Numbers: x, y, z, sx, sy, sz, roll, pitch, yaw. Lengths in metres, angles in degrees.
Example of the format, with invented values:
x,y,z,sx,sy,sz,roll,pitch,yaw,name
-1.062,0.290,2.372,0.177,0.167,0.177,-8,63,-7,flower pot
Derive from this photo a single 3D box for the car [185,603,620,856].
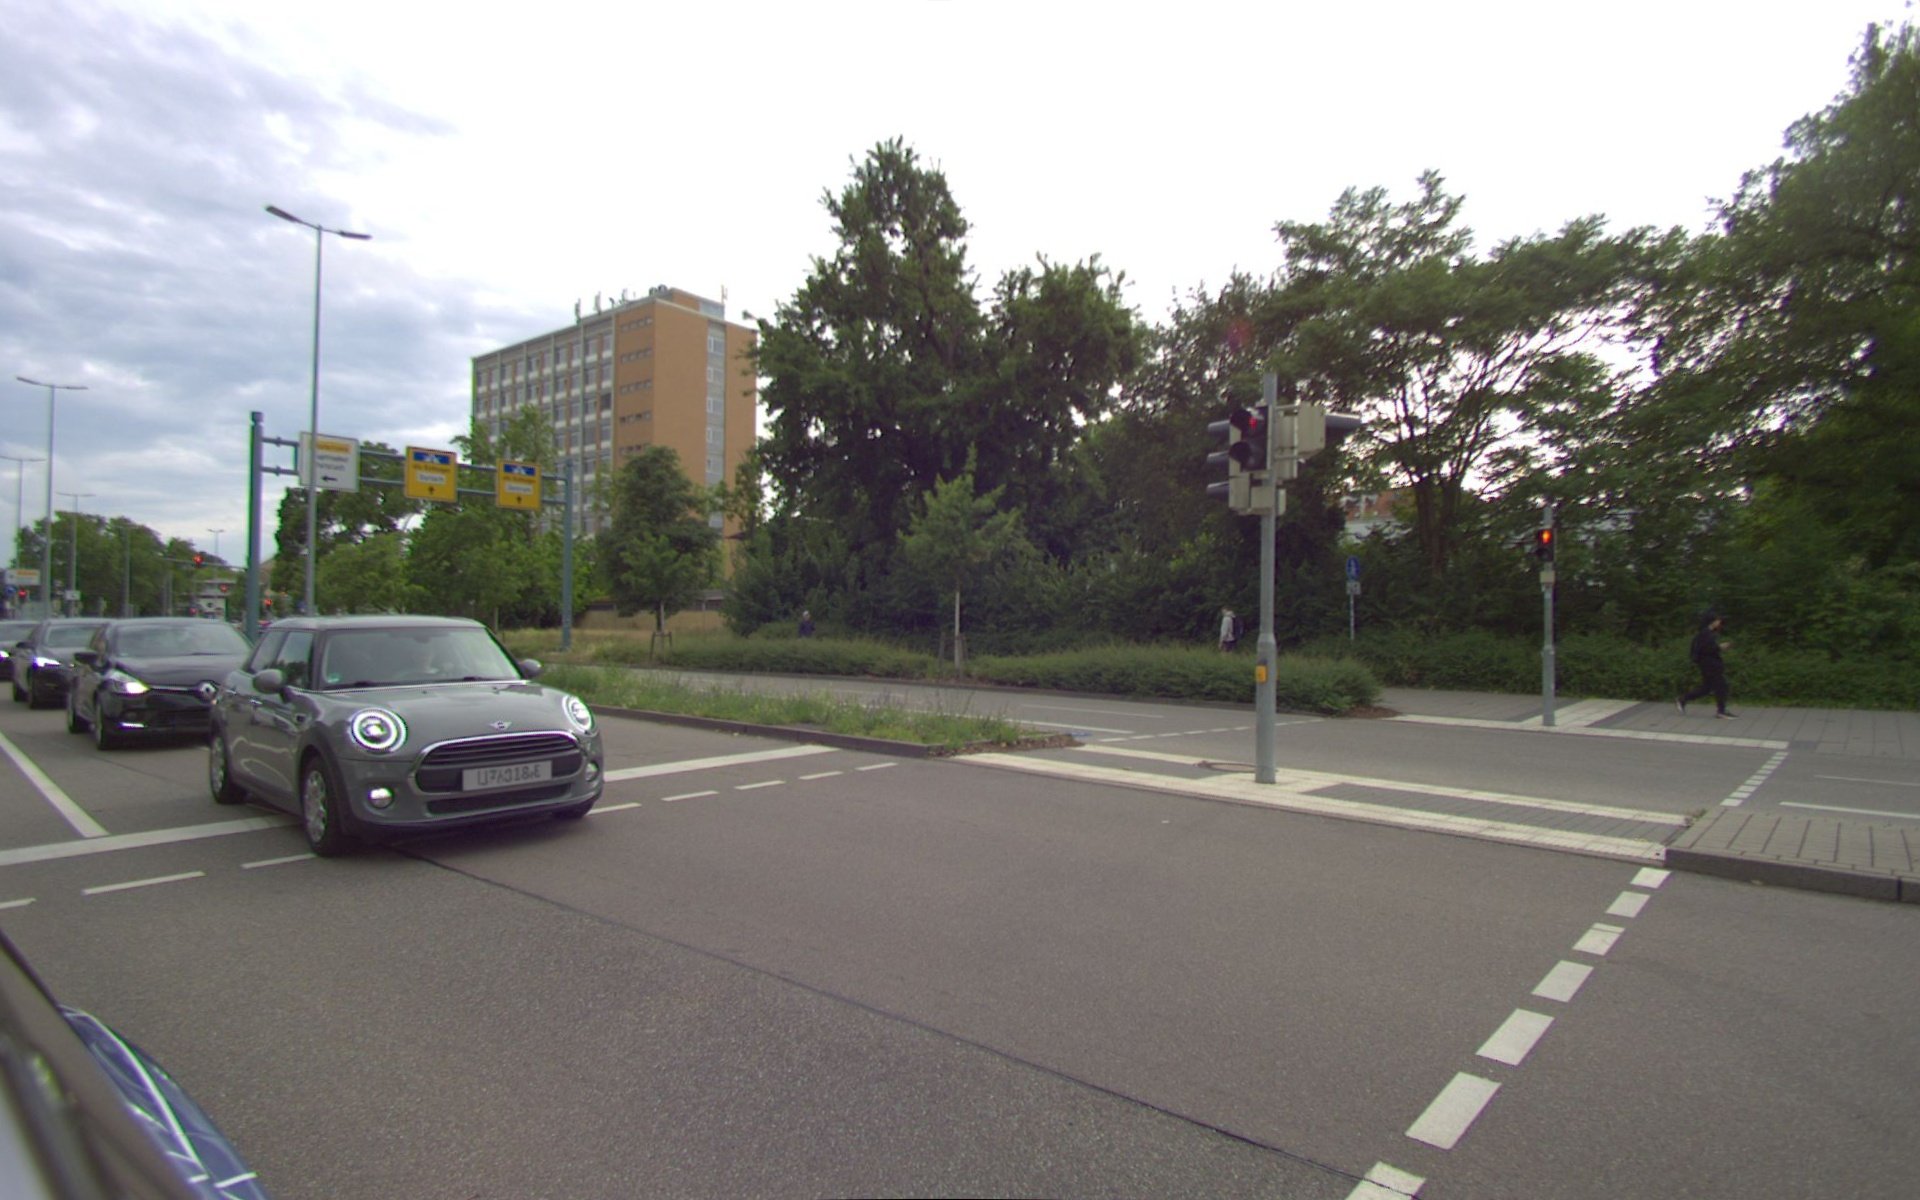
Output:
x,y,z,sx,sy,sz,roll,pitch,yaw,name
-4.105,0.731,7.197,3.705,1.328,1.603,-1,-2,43,car

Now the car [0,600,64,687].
x,y,z,sx,sy,sz,roll,pitch,yaw,name
-23.669,1.038,24.908,4.000,2.029,1.972,-1,-3,43,car

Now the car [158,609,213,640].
x,y,z,sx,sy,sz,roll,pitch,yaw,name
-46.493,1.426,60.737,3.998,1.786,1.869,-1,0,42,car

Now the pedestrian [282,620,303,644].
x,y,z,sx,sy,sz,roll,pitch,yaw,name
-58.053,2.796,87.993,1.520,2.029,1.207,-1,-1,42,pedestrian

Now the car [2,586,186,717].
x,y,z,sx,sy,sz,roll,pitch,yaw,name
-15.332,0.856,17.857,4.000,2.029,1.972,-1,-3,43,car

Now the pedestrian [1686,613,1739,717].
x,y,z,sx,sy,sz,roll,pitch,yaw,name
12.764,1.083,17.155,0.652,1.708,0.583,-1,-1,42,pedestrian

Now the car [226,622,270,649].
x,y,z,sx,sy,sz,roll,pitch,yaw,name
-44.018,2.169,62.542,1.827,1.564,4.006,1,-1,-41,car

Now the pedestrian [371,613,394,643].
x,y,z,sx,sy,sz,roll,pitch,yaw,name
-38.904,1.874,68.189,1.218,2.029,0.872,-1,0,35,pedestrian

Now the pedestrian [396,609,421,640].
x,y,z,sx,sy,sz,roll,pitch,yaw,name
-35.329,1.575,64.847,1.121,1.933,1.163,0,-1,-44,pedestrian

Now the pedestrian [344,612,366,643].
x,y,z,sx,sy,sz,roll,pitch,yaw,name
-40.801,1.861,68.223,1.218,2.029,0.872,-1,0,35,pedestrian

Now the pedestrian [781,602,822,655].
x,y,z,sx,sy,sz,roll,pitch,yaw,name
-5.024,0.881,32.137,0.813,1.637,0.978,-1,-1,40,pedestrian

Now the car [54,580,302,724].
x,y,z,sx,sy,sz,roll,pitch,yaw,name
-9.592,0.581,12.298,4.000,1.470,1.709,-1,-2,43,car

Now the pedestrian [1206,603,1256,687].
x,y,z,sx,sy,sz,roll,pitch,yaw,name
6.727,1.101,25.149,0.896,2.029,0.823,0,-1,-43,pedestrian
